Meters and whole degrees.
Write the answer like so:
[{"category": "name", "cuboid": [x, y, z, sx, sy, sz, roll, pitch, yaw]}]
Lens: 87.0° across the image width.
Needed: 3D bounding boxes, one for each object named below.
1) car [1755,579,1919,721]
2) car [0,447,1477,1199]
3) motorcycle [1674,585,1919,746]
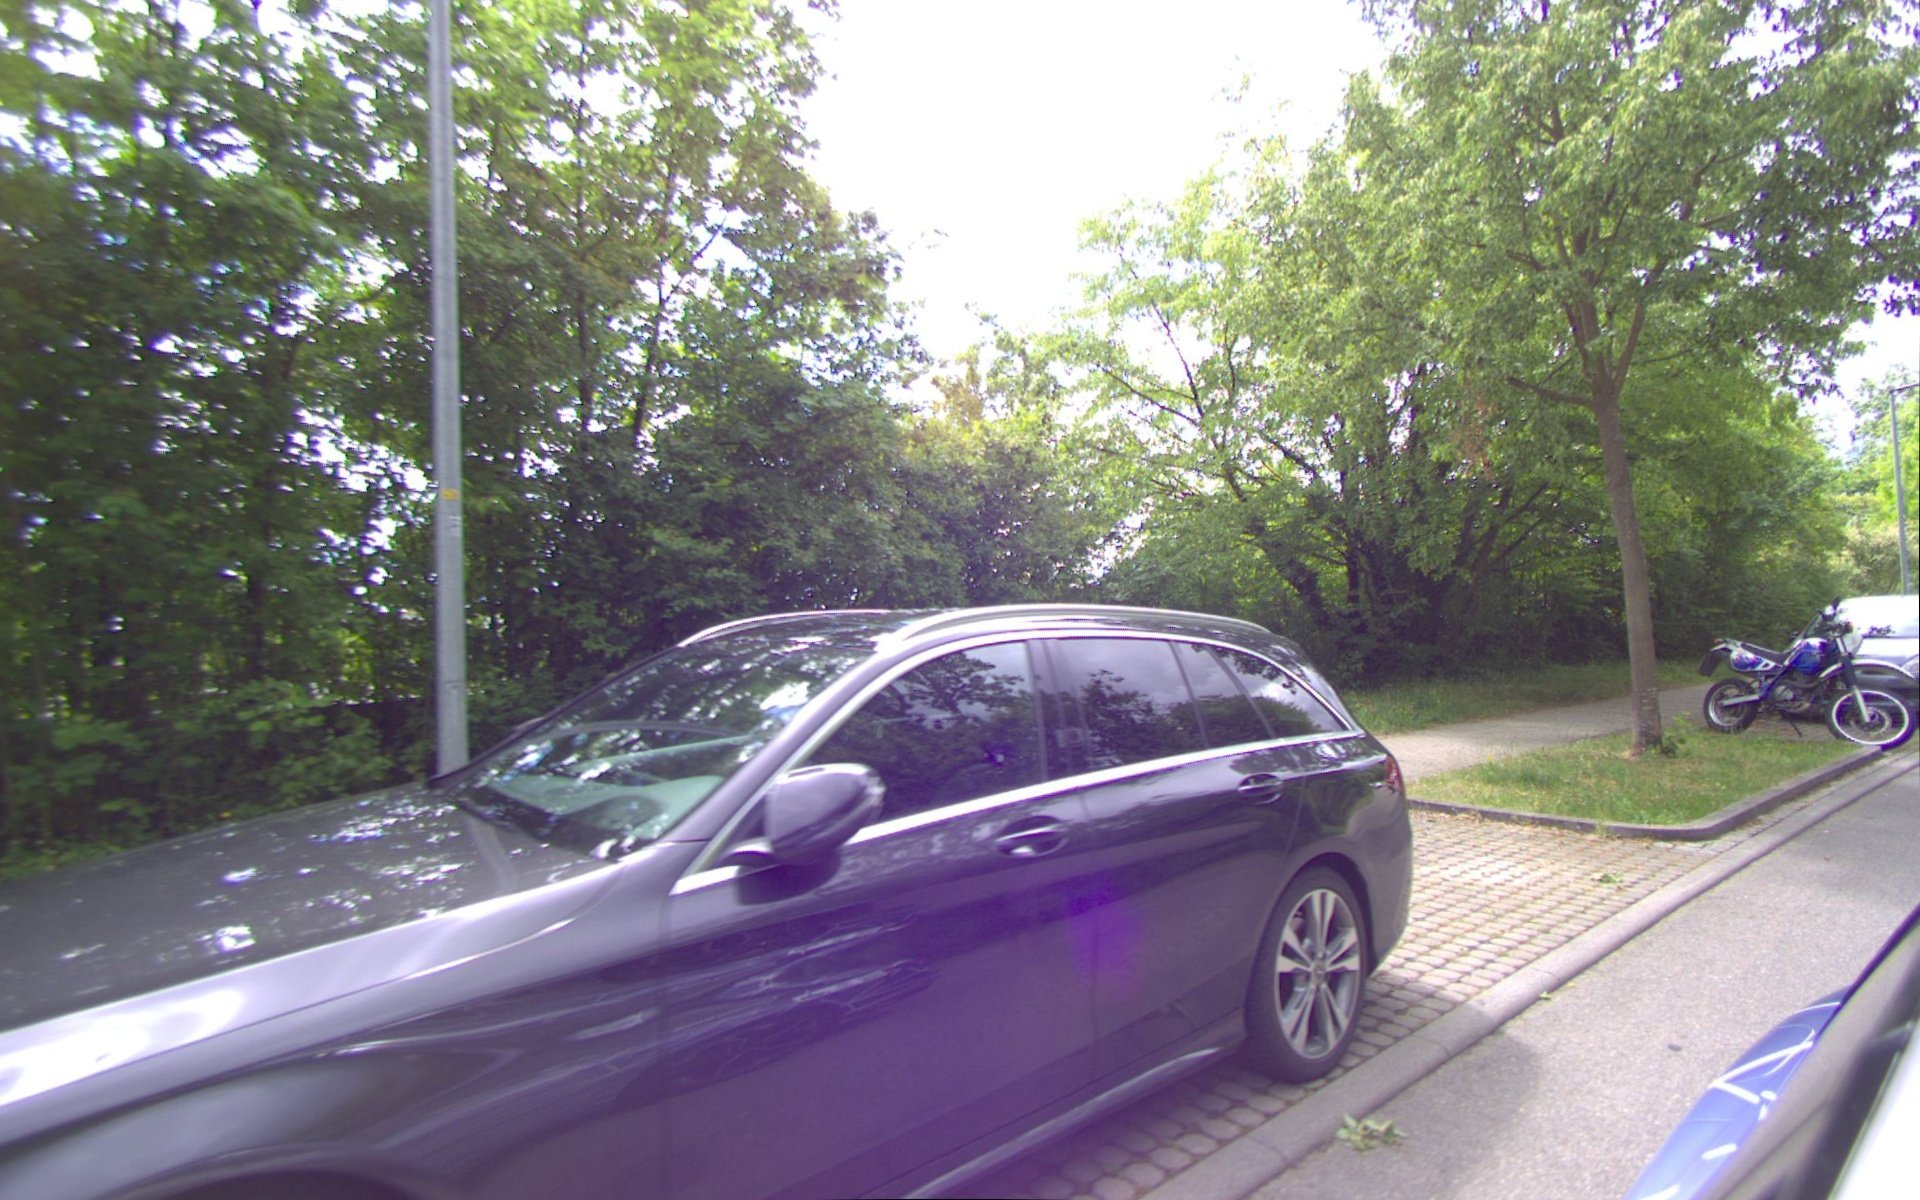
[{"category": "car", "cuboid": [11.921, 0.524, 12.799, 4.029, 1.537, 1.775, -2, 0, -34]}, {"category": "car", "cuboid": [-0.451, 0.631, 2.987, 4.464, 1.550, 1.896, 1, -2, -40]}, {"category": "motorcycle", "cuboid": [8.975, 0.598, 10.698, 0.955, 1.494, 2.317, -1, 1, -11]}]
